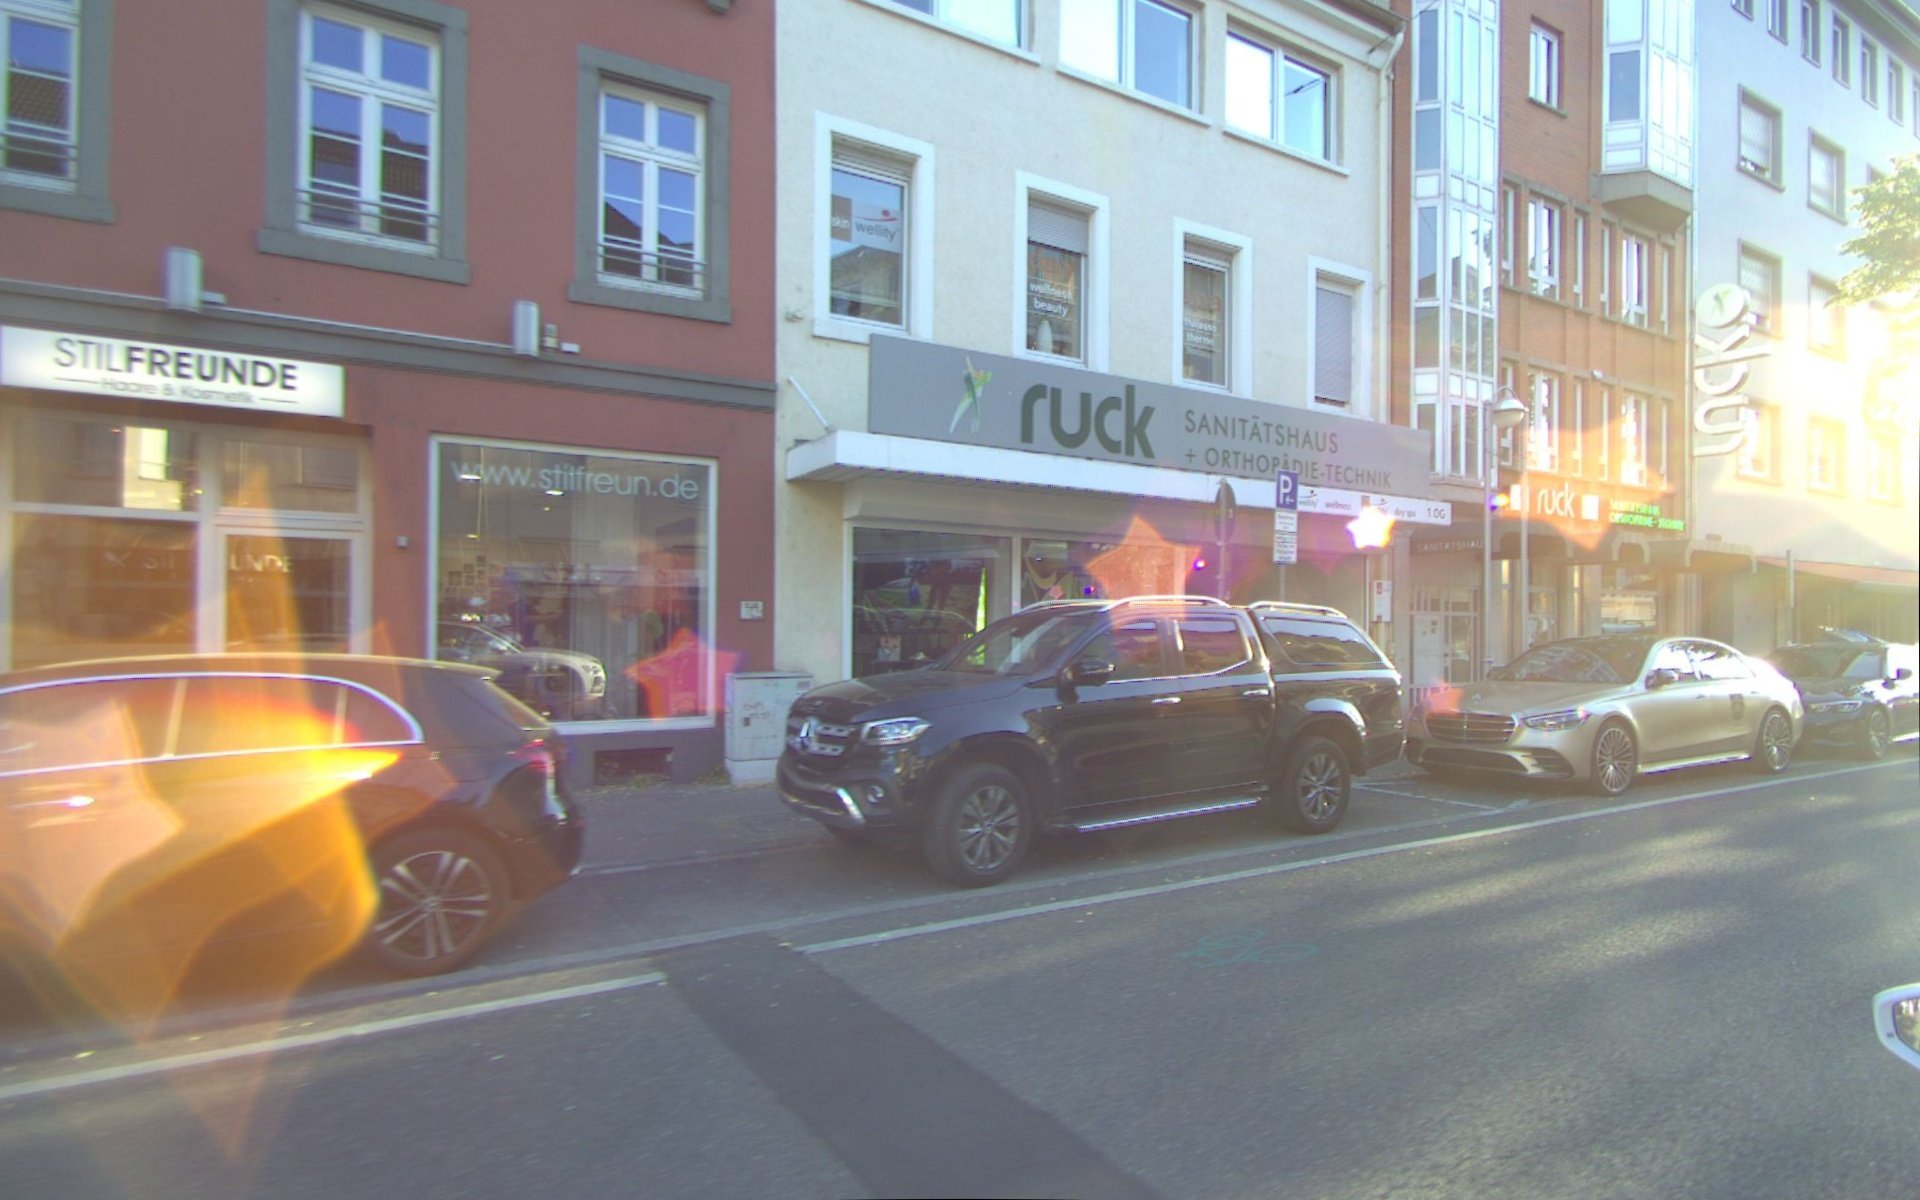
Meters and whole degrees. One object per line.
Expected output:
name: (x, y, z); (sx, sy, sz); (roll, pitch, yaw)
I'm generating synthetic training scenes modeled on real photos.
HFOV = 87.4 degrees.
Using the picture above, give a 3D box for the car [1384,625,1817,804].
car: (7.069, 1.093, 10.939); (5.074, 1.576, 1.819); (1, -3, -30)

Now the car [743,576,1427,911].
car: (1.172, 0.862, 7.721); (5.290, 1.834, 1.817); (1, -3, -33)

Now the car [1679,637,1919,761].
car: (11.991, 1.262, 13.744); (4.500, 1.458, 1.819); (2, -4, -31)

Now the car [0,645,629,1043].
car: (-3.873, 0.952, 4.570); (4.259, 1.459, 1.705); (1, -3, -30)
